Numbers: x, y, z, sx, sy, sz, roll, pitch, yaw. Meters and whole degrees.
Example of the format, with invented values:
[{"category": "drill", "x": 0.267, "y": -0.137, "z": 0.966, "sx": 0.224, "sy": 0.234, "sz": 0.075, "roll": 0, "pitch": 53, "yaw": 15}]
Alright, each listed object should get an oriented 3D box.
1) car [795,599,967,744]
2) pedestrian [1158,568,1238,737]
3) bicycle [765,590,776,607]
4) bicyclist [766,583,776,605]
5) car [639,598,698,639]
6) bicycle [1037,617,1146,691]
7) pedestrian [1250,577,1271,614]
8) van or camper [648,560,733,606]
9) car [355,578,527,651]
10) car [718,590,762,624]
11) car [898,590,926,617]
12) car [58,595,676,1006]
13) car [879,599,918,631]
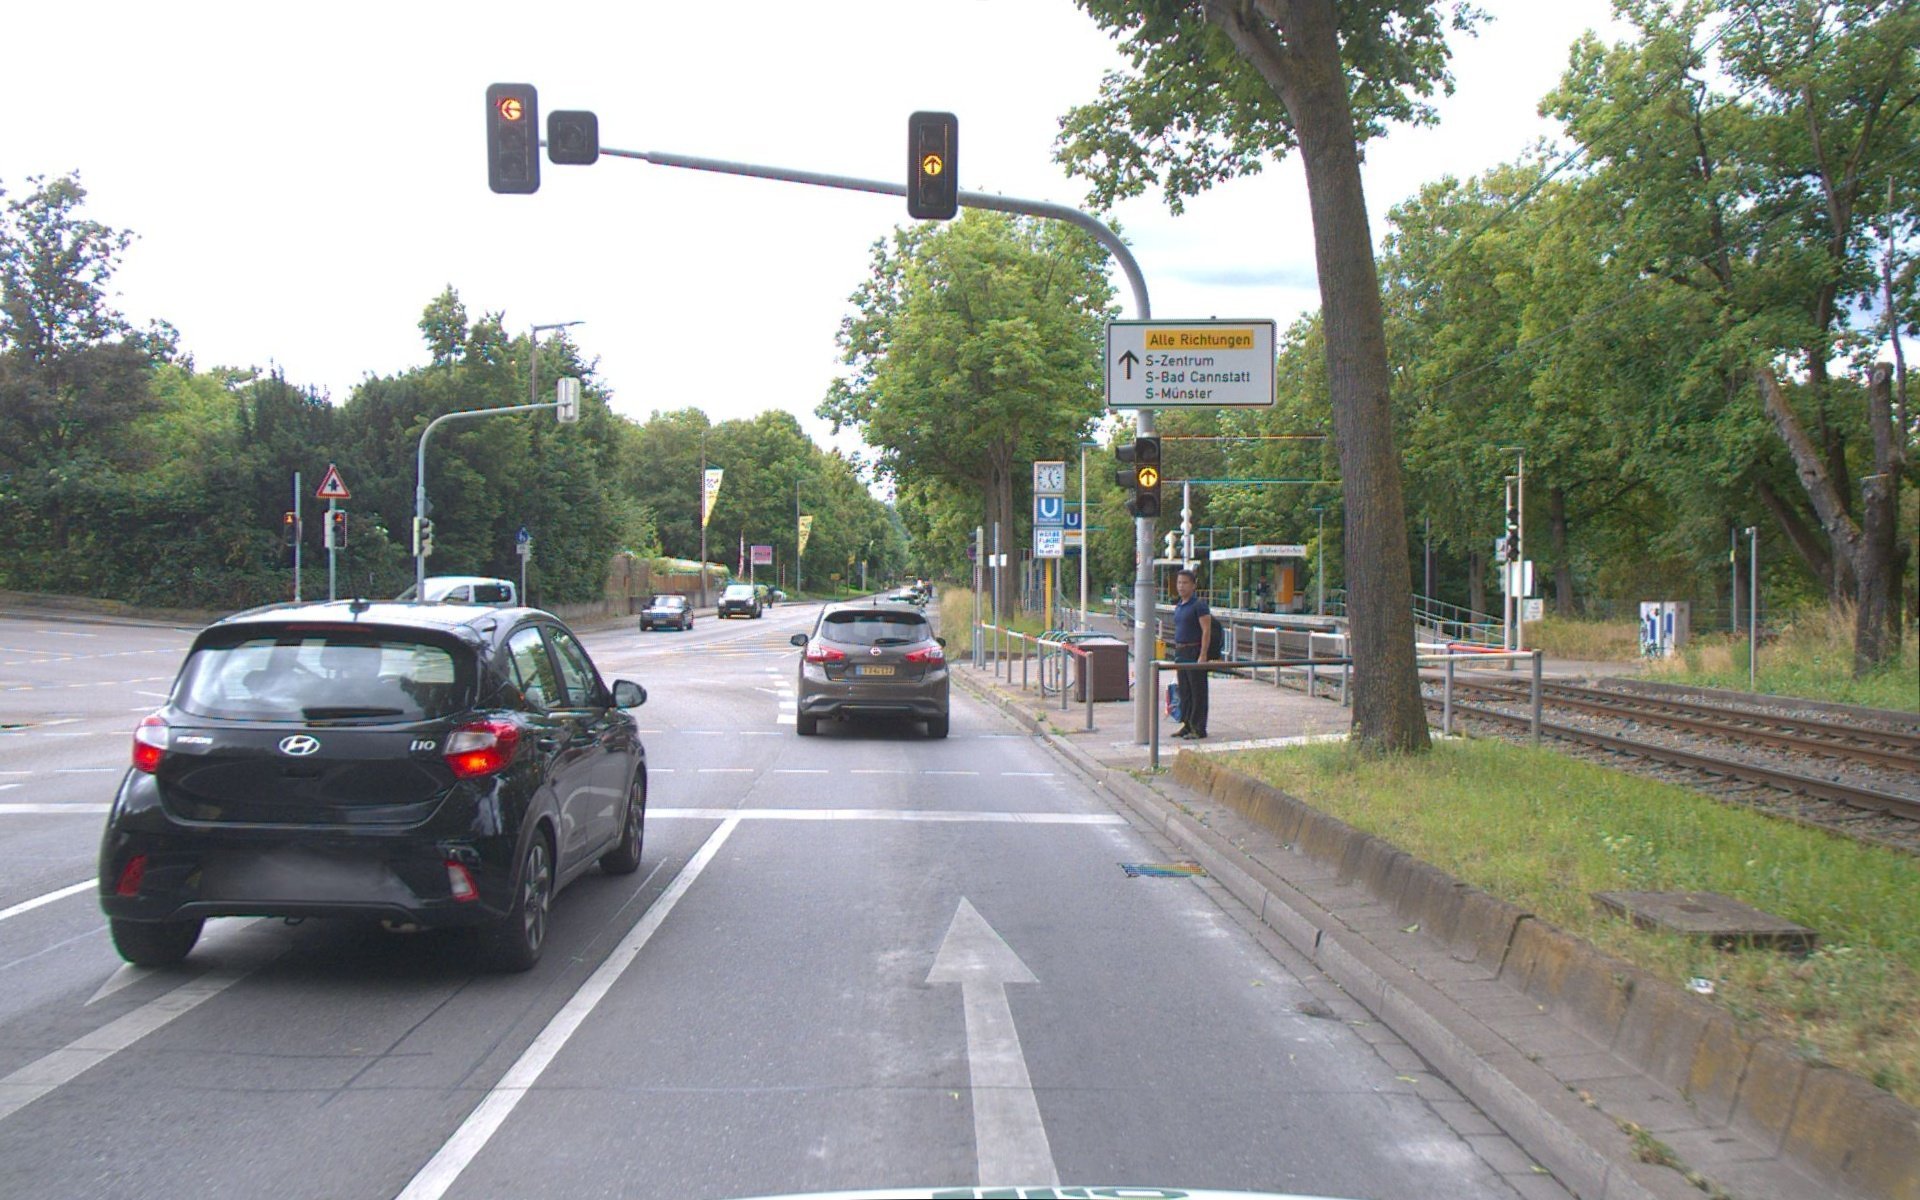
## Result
[{"category": "car", "x": -0.864, "y": 0.787, "z": 20.095, "sx": 1.799, "sy": 1.555, "sz": 3.929, "roll": 1, "pitch": 0, "yaw": 1}, {"category": "pedestrian", "x": 2.582, "y": 0.554, "z": 17.987, "sx": 0.736, "sy": 1.768, "sz": 0.840, "roll": -2, "pitch": -1, "yaw": 4}, {"category": "bicycle", "x": -13.470, "y": -0.113, "z": 117.648, "sx": 0.629, "sy": 1.165, "sz": 2.145, "roll": 2, "pitch": 0, "yaw": -5}, {"category": "bicyclist", "x": -13.453, "y": -0.412, "z": 117.608, "sx": 0.629, "sy": 1.562, "sz": 0.977, "roll": 2, "pitch": 0, "yaw": -5}, {"category": "car", "x": -11.410, "y": 0.731, "z": 64.945, "sx": 1.707, "sy": 1.490, "sz": 4.340, "roll": 2, "pitch": -1, "yaw": -3}, {"category": "bicycle", "x": 2.121, "y": 0.865, "z": 26.703, "sx": 1.641, "sy": 1.109, "sz": 0.601, "roll": -2, "pitch": 0, "yaw": -5}, {"category": "pedestrian", "x": 12.602, "y": -0.185, "z": 69.396, "sx": 0.703, "sy": 1.538, "sz": 0.724, "roll": 2, "pitch": -1, "yaw": 2}, {"category": "van or camper", "x": -24.577, "y": -1.553, "z": 151.010, "sx": 6.999, "sy": 3.428, "sz": 2.796, "roll": 6, "pitch": 0, "yaw": -1}, {"category": "car", "x": -14.379, "y": 0.408, "z": 46.063, "sx": 1.905, "sy": 1.906, "sz": 4.535, "roll": 1, "pitch": 0, "yaw": 28}, {"category": "car", "x": -11.677, "y": 0.372, "z": 88.125, "sx": 1.864, "sy": 1.708, "sz": 5.077, "roll": 1, "pitch": 0, "yaw": -3}, {"category": "car", "x": -2.911, "y": 0.191, "z": 100.512, "sx": 1.472, "sy": 1.555, "sz": 3.671, "roll": 1, "pitch": 0, "yaw": 1}, {"category": "car", "x": -2.505, "y": 0.745, "z": 7.951, "sx": 1.669, "sy": 1.506, "sz": 3.666, "roll": 1, "pitch": 0, "yaw": -1}, {"category": "car", "x": -2.996, "y": 0.705, "z": 81.653, "sx": 1.675, "sy": 1.501, "sz": 3.671, "roll": 1, "pitch": 0, "yaw": 1}]
